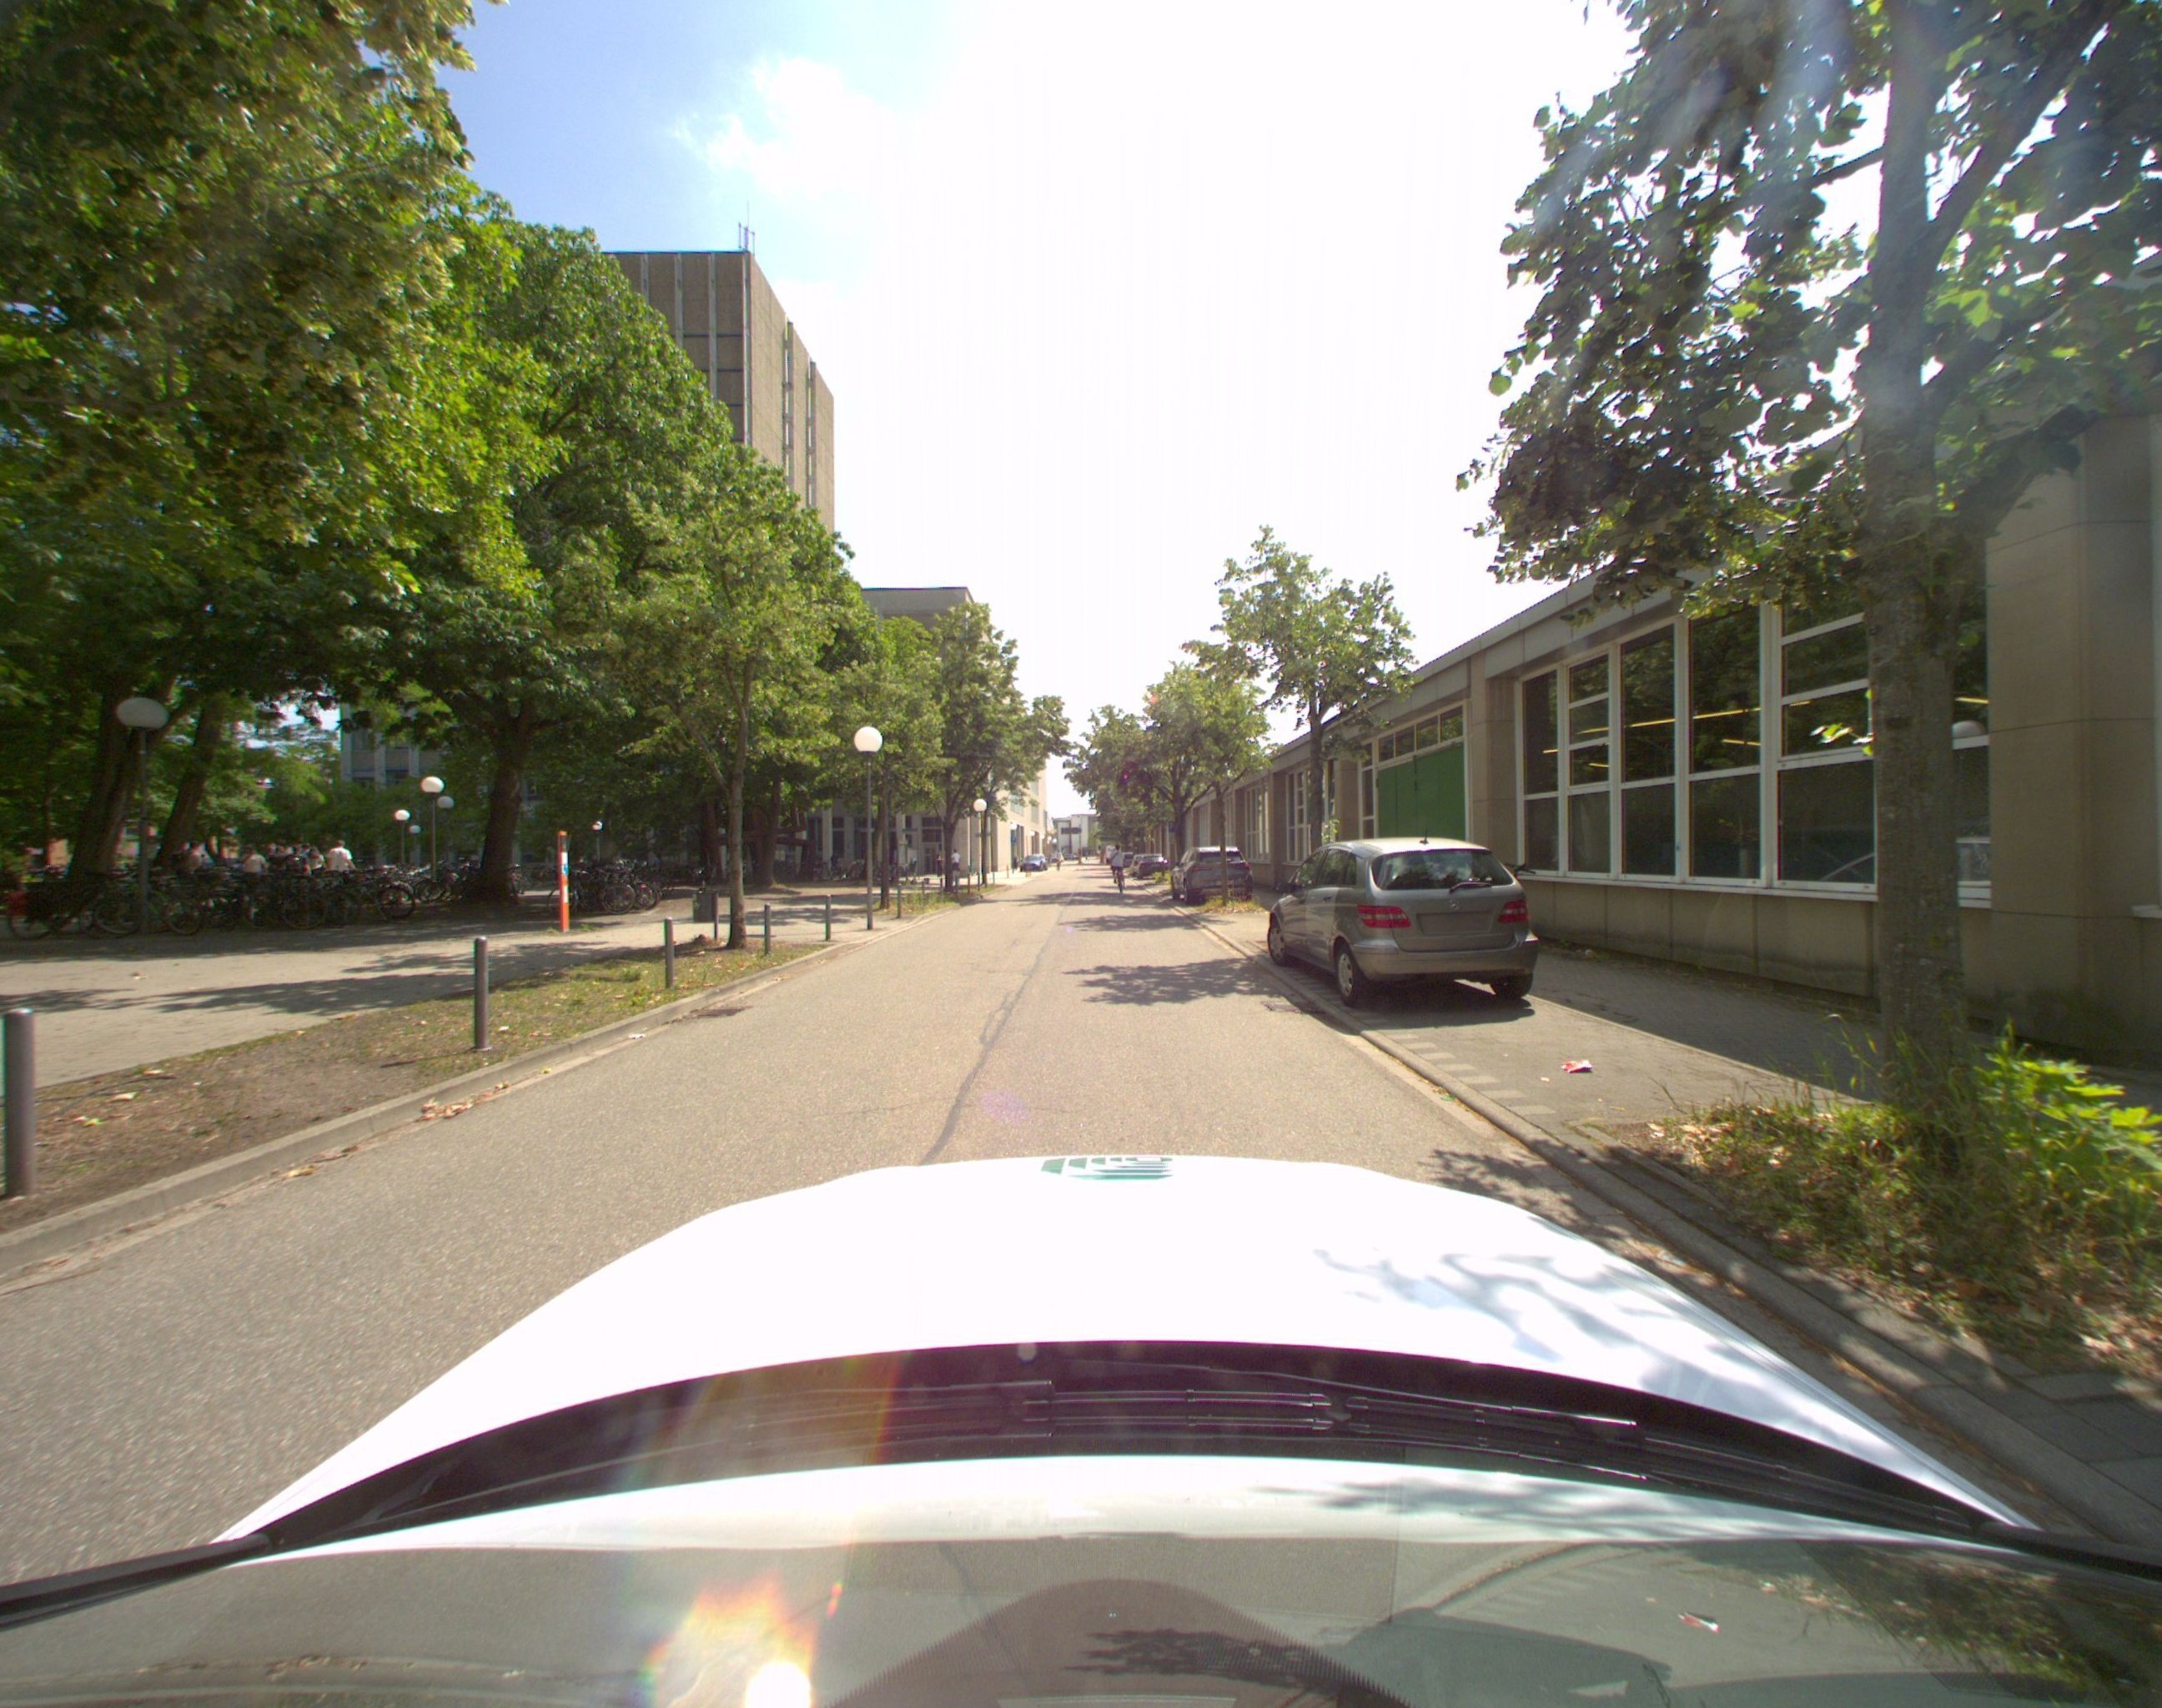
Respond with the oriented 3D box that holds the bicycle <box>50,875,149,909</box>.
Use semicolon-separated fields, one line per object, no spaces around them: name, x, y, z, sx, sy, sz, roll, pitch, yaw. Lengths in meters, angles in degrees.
bicycle;-27.039;1.026;22.466;1.767;0.894;0.416;0;0;-20

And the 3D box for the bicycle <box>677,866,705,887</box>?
bicycle;-21.812;1.249;45.562;0.550;1.086;1.973;1;0;1

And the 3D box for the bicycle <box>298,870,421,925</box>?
bicycle;-15.199;0.900;17.197;1.861;1.089;0.543;0;0;-21

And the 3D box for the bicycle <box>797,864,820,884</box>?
bicycle;-15.259;1.107;45.637;0.550;1.086;1.973;1;0;1

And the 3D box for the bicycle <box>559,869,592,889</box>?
bicycle;-28.119;1.379;45.321;0.550;1.086;1.973;1;0;1

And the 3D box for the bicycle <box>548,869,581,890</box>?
bicycle;-28.788;1.398;45.440;0.550;1.086;1.973;1;0;1

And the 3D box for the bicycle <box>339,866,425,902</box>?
bicycle;-21.913;0.933;25.572;1.972;1.089;0.542;0;0;-29

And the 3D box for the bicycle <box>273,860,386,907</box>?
bicycle;-18.210;0.705;19.763;1.965;1.089;0.544;0;0;-16

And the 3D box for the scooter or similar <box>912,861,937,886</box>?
scooter or similar;-7.603;0.925;39.680;0.335;1.175;1.337;0;0;36

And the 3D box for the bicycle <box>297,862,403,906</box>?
bicycle;-18.626;0.745;20.791;1.965;1.089;0.544;0;0;-16

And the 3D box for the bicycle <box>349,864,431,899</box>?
bicycle;-22.567;0.896;26.630;1.972;1.089;0.542;0;0;-29

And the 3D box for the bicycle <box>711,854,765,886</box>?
bicycle;-16.264;0.734;38.636;2.299;1.450;0.601;0;0;-33

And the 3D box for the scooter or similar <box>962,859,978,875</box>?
scooter or similar;-8.516;0.985;62.613;0.529;1.210;1.541;0;0;-37

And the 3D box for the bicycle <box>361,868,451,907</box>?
bicycle;-19.782;0.970;23.911;1.972;1.089;0.542;0;0;-29

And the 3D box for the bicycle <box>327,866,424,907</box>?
bicycle;-19.646;0.884;22.731;1.972;1.089;0.542;0;0;-29

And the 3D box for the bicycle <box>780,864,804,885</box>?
bicycle;-16.104;1.118;45.417;0.550;1.086;1.973;1;0;1

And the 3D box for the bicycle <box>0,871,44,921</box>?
bicycle;-24.549;0.938;17.985;1.959;1.091;0.593;0;-1;-22

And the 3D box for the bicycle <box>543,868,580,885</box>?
bicycle;-27.691;1.183;43.474;0.548;0.871;2.646;0;0;-6

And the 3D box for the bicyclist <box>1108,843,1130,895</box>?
bicyclist;1.491;0.574;32.127;0.870;2.014;0.850;0;0;1

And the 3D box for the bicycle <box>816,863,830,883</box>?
bicycle;-12.982;0.966;40.992;0.475;0.965;1.651;0;0;-10

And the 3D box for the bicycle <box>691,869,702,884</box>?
bicycle;-20.124;1.179;42.638;0.324;0.763;1.544;0;0;-32

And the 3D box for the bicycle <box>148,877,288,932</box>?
bicycle;-17.085;0.992;16.158;1.961;1.027;0.536;0;0;-10

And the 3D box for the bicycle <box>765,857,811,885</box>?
bicycle;-14.312;0.828;39.851;2.028;1.254;0.581;-2;0;-32

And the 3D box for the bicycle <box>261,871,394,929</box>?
bicycle;-14.880;0.891;16.133;1.861;1.089;0.543;0;0;-21

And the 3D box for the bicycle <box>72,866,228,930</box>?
bicycle;-16.931;0.780;14.846;1.961;1.125;0.536;0;0;-10

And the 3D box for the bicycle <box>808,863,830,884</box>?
bicycle;-14.610;1.089;45.507;0.550;1.086;1.973;1;0;1

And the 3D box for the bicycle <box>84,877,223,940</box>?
bicycle;-15.668;0.908;13.779;1.795;1.014;0.538;0;0;3

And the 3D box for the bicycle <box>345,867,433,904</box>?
bicycle;-21.098;0.944;24.871;1.972;1.089;0.542;0;0;-29

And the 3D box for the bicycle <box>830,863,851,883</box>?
bicycle;-13.439;1.066;45.596;0.550;1.086;1.973;1;0;1

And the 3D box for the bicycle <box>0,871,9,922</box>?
bicycle;-24.089;0.917;17.041;1.959;1.091;0.593;0;-1;-22

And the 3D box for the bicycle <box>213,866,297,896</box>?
bicycle;-29.686;0.965;29.290;2.064;1.035;0.502;0;0;-23

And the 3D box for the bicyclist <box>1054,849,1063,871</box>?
bicyclist;-2.091;0.548;75.574;0.709;2.013;1.018;-2;0;-2

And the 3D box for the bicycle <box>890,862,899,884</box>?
bicycle;-8.951;0.914;39.148;0.382;1.025;1.808;0;0;-11

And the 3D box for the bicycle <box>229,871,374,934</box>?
bicycle;-14.374;0.880;15.066;1.861;1.089;0.543;0;0;-21

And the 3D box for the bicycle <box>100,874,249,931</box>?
bicycle;-17.086;0.896;15.389;1.961;1.027;0.536;0;0;-10

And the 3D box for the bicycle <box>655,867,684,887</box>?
bicycle;-23.118;1.285;45.811;0.550;1.086;1.973;1;0;1

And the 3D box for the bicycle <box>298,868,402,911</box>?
bicycle;-19.521;0.921;21.800;1.972;1.089;0.542;0;0;-29

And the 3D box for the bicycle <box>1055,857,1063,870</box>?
bicycle;-2.072;0.861;75.612;0.683;1.130;1.888;-1;0;-1

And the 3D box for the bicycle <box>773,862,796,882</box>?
bicycle;-15.644;0.923;42.975;0.474;1.032;1.851;-1;0;2

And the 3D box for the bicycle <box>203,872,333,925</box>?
bicycle;-17.675;0.950;17.751;1.965;1.089;0.534;0;0;-17

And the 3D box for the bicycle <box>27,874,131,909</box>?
bicycle;-26.565;0.979;21.620;1.767;0.894;0.416;0;0;-20

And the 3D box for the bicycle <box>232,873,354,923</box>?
bicycle;-18.044;0.995;18.693;1.965;1.089;0.544;0;0;-16

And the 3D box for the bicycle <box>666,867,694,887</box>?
bicycle;-22.468;1.268;45.705;0.550;1.086;1.973;1;0;1

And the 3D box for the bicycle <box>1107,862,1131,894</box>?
bicycle;1.493;0.916;32.104;0.879;1.199;2.750;0;0;2

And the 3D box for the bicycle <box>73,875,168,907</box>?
bicycle;-27.510;1.051;23.351;1.767;0.894;0.416;0;0;-20

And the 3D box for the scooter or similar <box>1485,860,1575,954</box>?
scooter or similar;6.277;0.702;11.452;0.414;1.217;1.493;-2;0;1

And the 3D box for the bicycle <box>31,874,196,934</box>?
bicycle;-16.881;0.862;14.247;1.961;1.003;0.536;0;0;-10

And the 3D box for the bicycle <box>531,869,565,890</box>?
bicycle;-29.746;1.420;45.489;0.550;1.086;1.973;1;0;1

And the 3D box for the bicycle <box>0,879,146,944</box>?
bicycle;-16.293;0.921;13.172;1.795;1.014;0.538;0;0;3

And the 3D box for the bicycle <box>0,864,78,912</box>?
bicycle;-25.046;0.786;19.034;1.959;1.091;0.593;0;-1;-22

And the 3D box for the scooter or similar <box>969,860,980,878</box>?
scooter or similar;-7.272;0.996;55.543;0.452;1.223;1.551;-1;0;5

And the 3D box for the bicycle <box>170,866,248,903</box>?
bicycle;-28.899;1.001;27.019;1.795;1.207;0.422;0;0;-16
